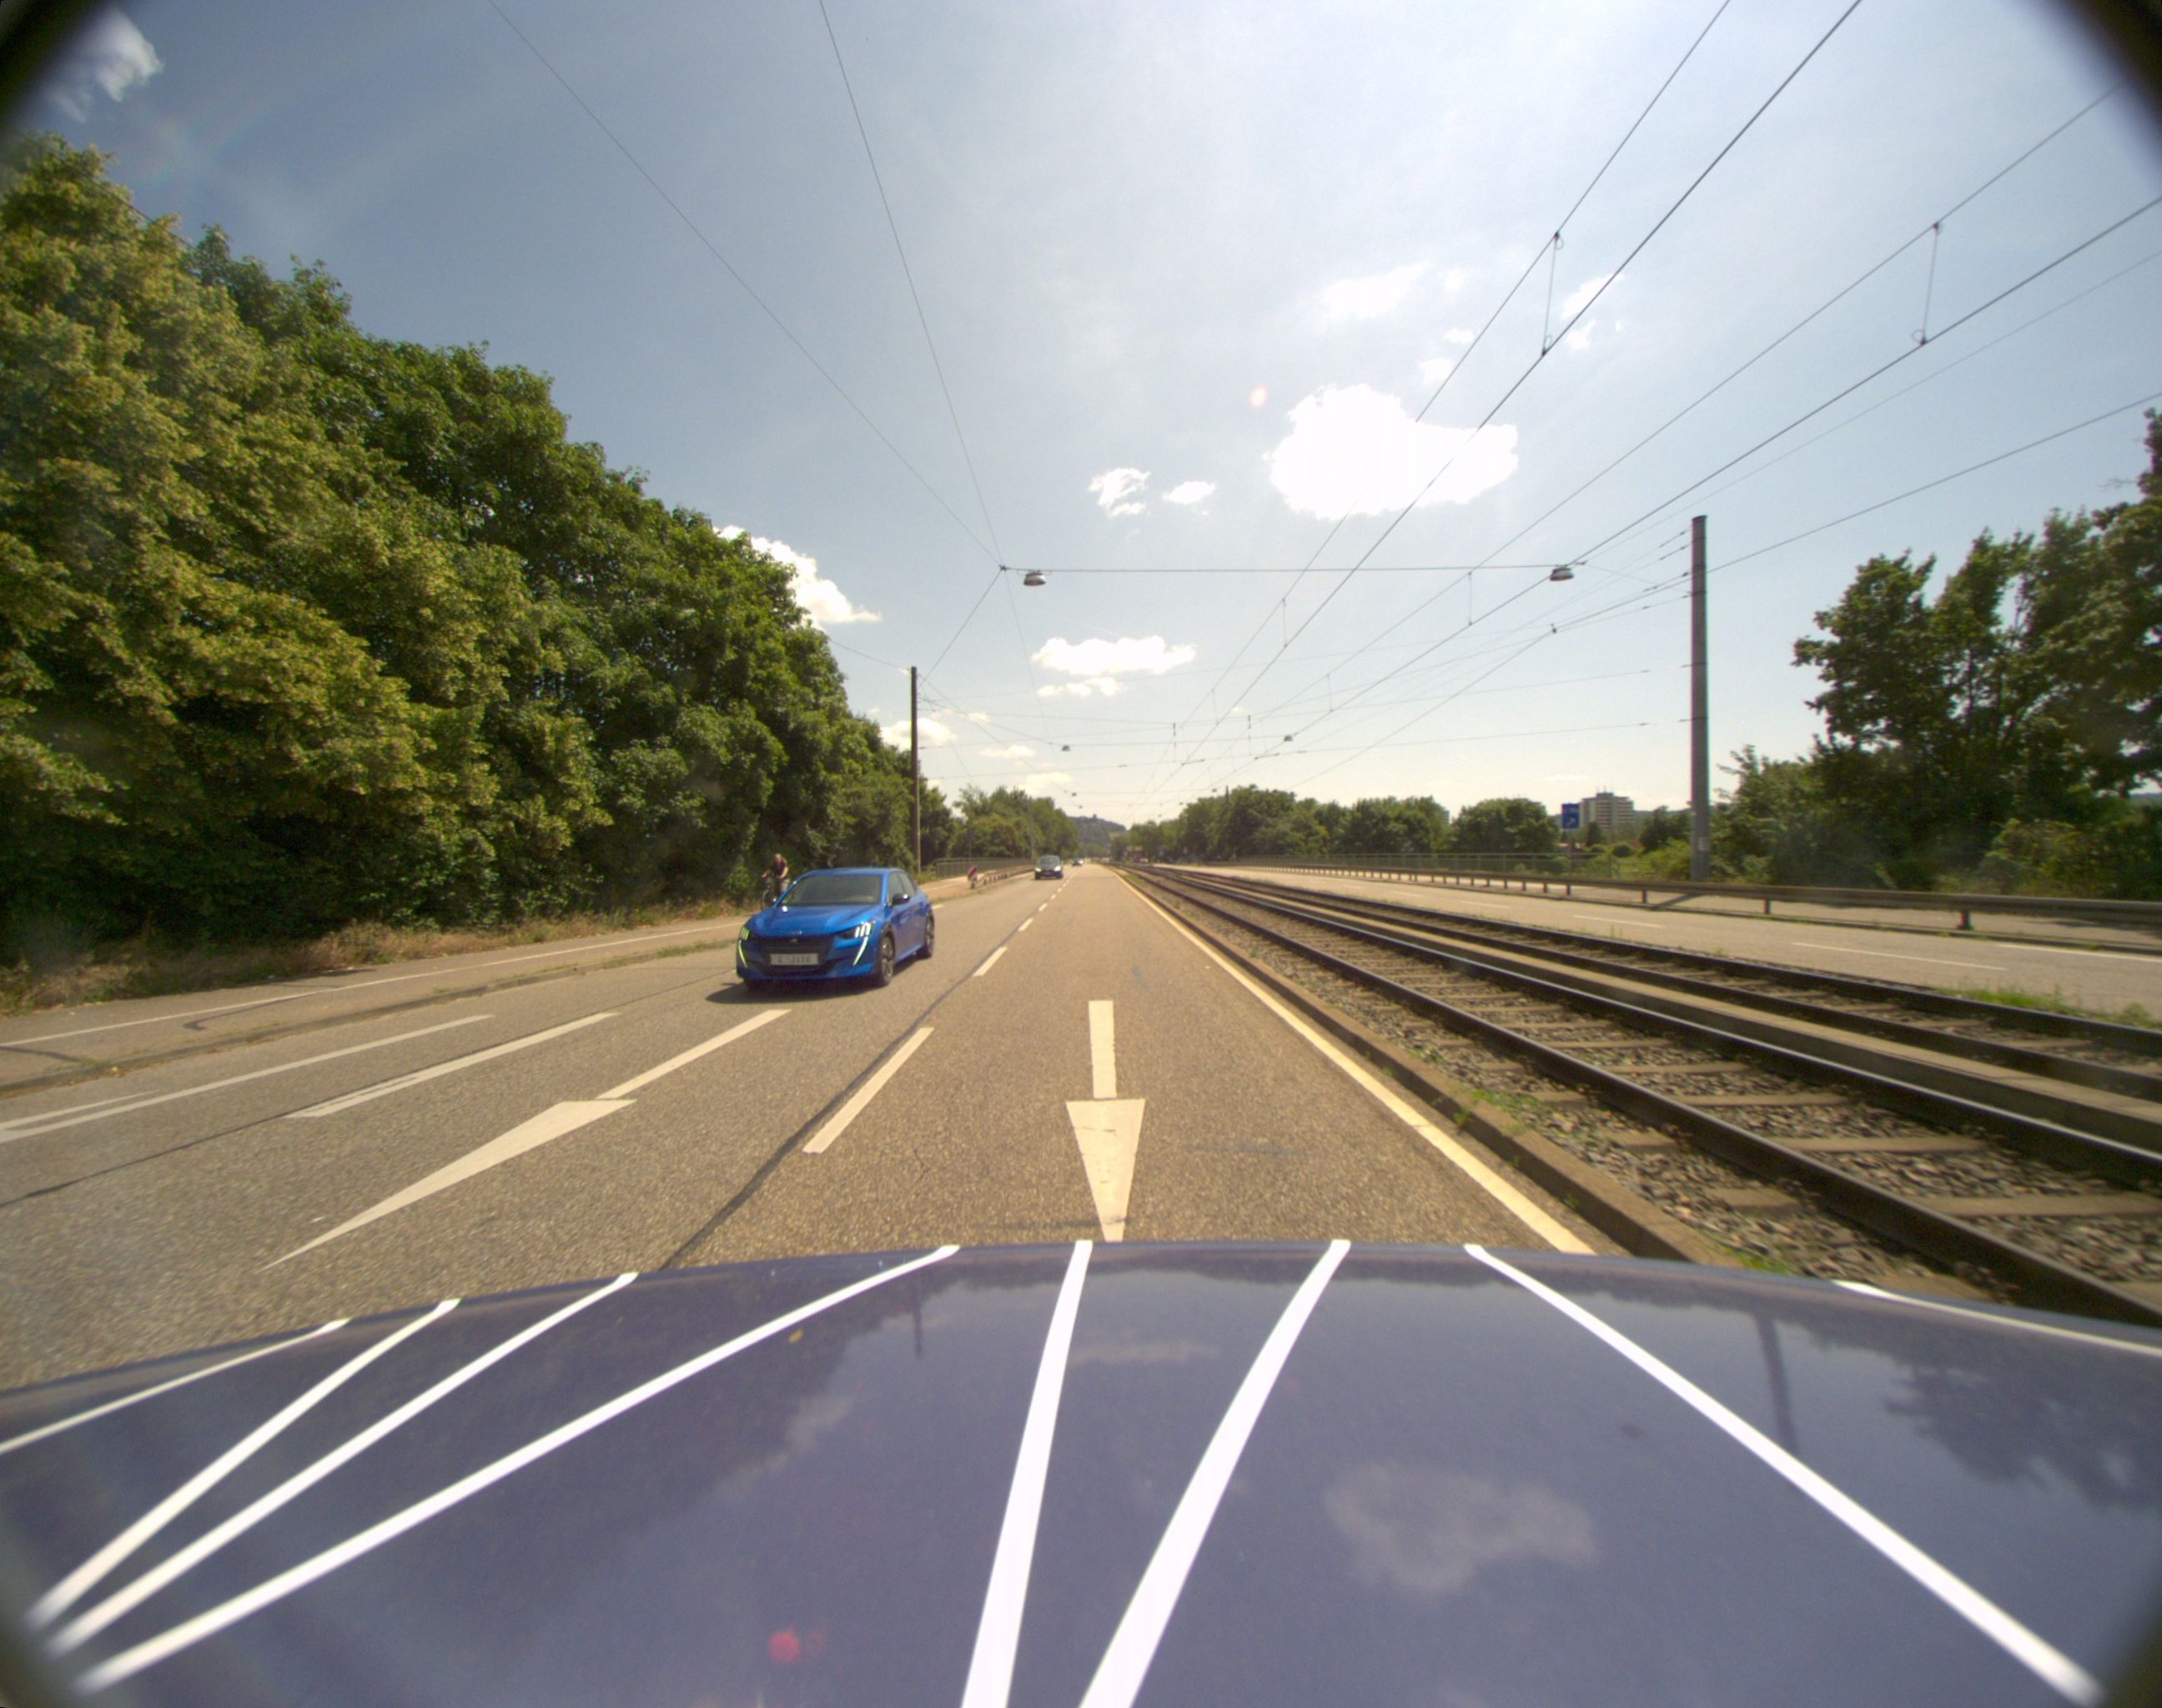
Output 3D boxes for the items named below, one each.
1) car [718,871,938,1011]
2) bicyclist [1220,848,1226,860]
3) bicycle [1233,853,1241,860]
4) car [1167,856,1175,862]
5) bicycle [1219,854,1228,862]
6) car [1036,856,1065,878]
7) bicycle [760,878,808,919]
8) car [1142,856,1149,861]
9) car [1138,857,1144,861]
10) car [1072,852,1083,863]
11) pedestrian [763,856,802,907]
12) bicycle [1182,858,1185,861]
[{"bbox_3d":[-3.168,1.014,10.333,1.660,1.397,3.743,-2,0,1],"label":"car"},{"bbox_3d":[20.142,-0.019,107.779,0.765,1.612,0.838,-2,1,1],"label":"bicyclist"},{"bbox_3d":[19.699,0.292,96.181,0.524,0.838,2.036,-3,0,0],"label":"bicycle"},{"bbox_3d":[23.198,1.245,195.360,1.567,1.339,3.929,0,0,1],"label":"car"},{"bbox_3d":[20.164,0.540,107.691,0.859,1.178,2.062,-2,0,0],"label":"bicycle"},{"bbox_3d":[-2.041,0.831,51.451,1.769,1.359,3.743,-2,0,1],"label":"car"},{"bbox_3d":[-8.256,1.209,21.162,0.561,1.018,1.848,0,1,1],"label":"bicycle"},{"bbox_3d":[17.086,1.146,200.995,1.715,1.412,4.624,0,0,1],"label":"car"},{"bbox_3d":[18.762,1.535,239.297,1.578,1.392,3.938,0,0,1],"label":"car"},{"bbox_3d":[-0.682,0.639,149.121,1.998,2.002,4.000,-2,0,0],"label":"car"},{"bbox_3d":[-8.292,0.753,21.118,0.629,1.366,1.050,0,1,1],"label":"pedestrian"},{"bbox_3d":[27.679,1.396,205.088,0.587,0.814,2.069,-3,1,6],"label":"bicycle"}]
